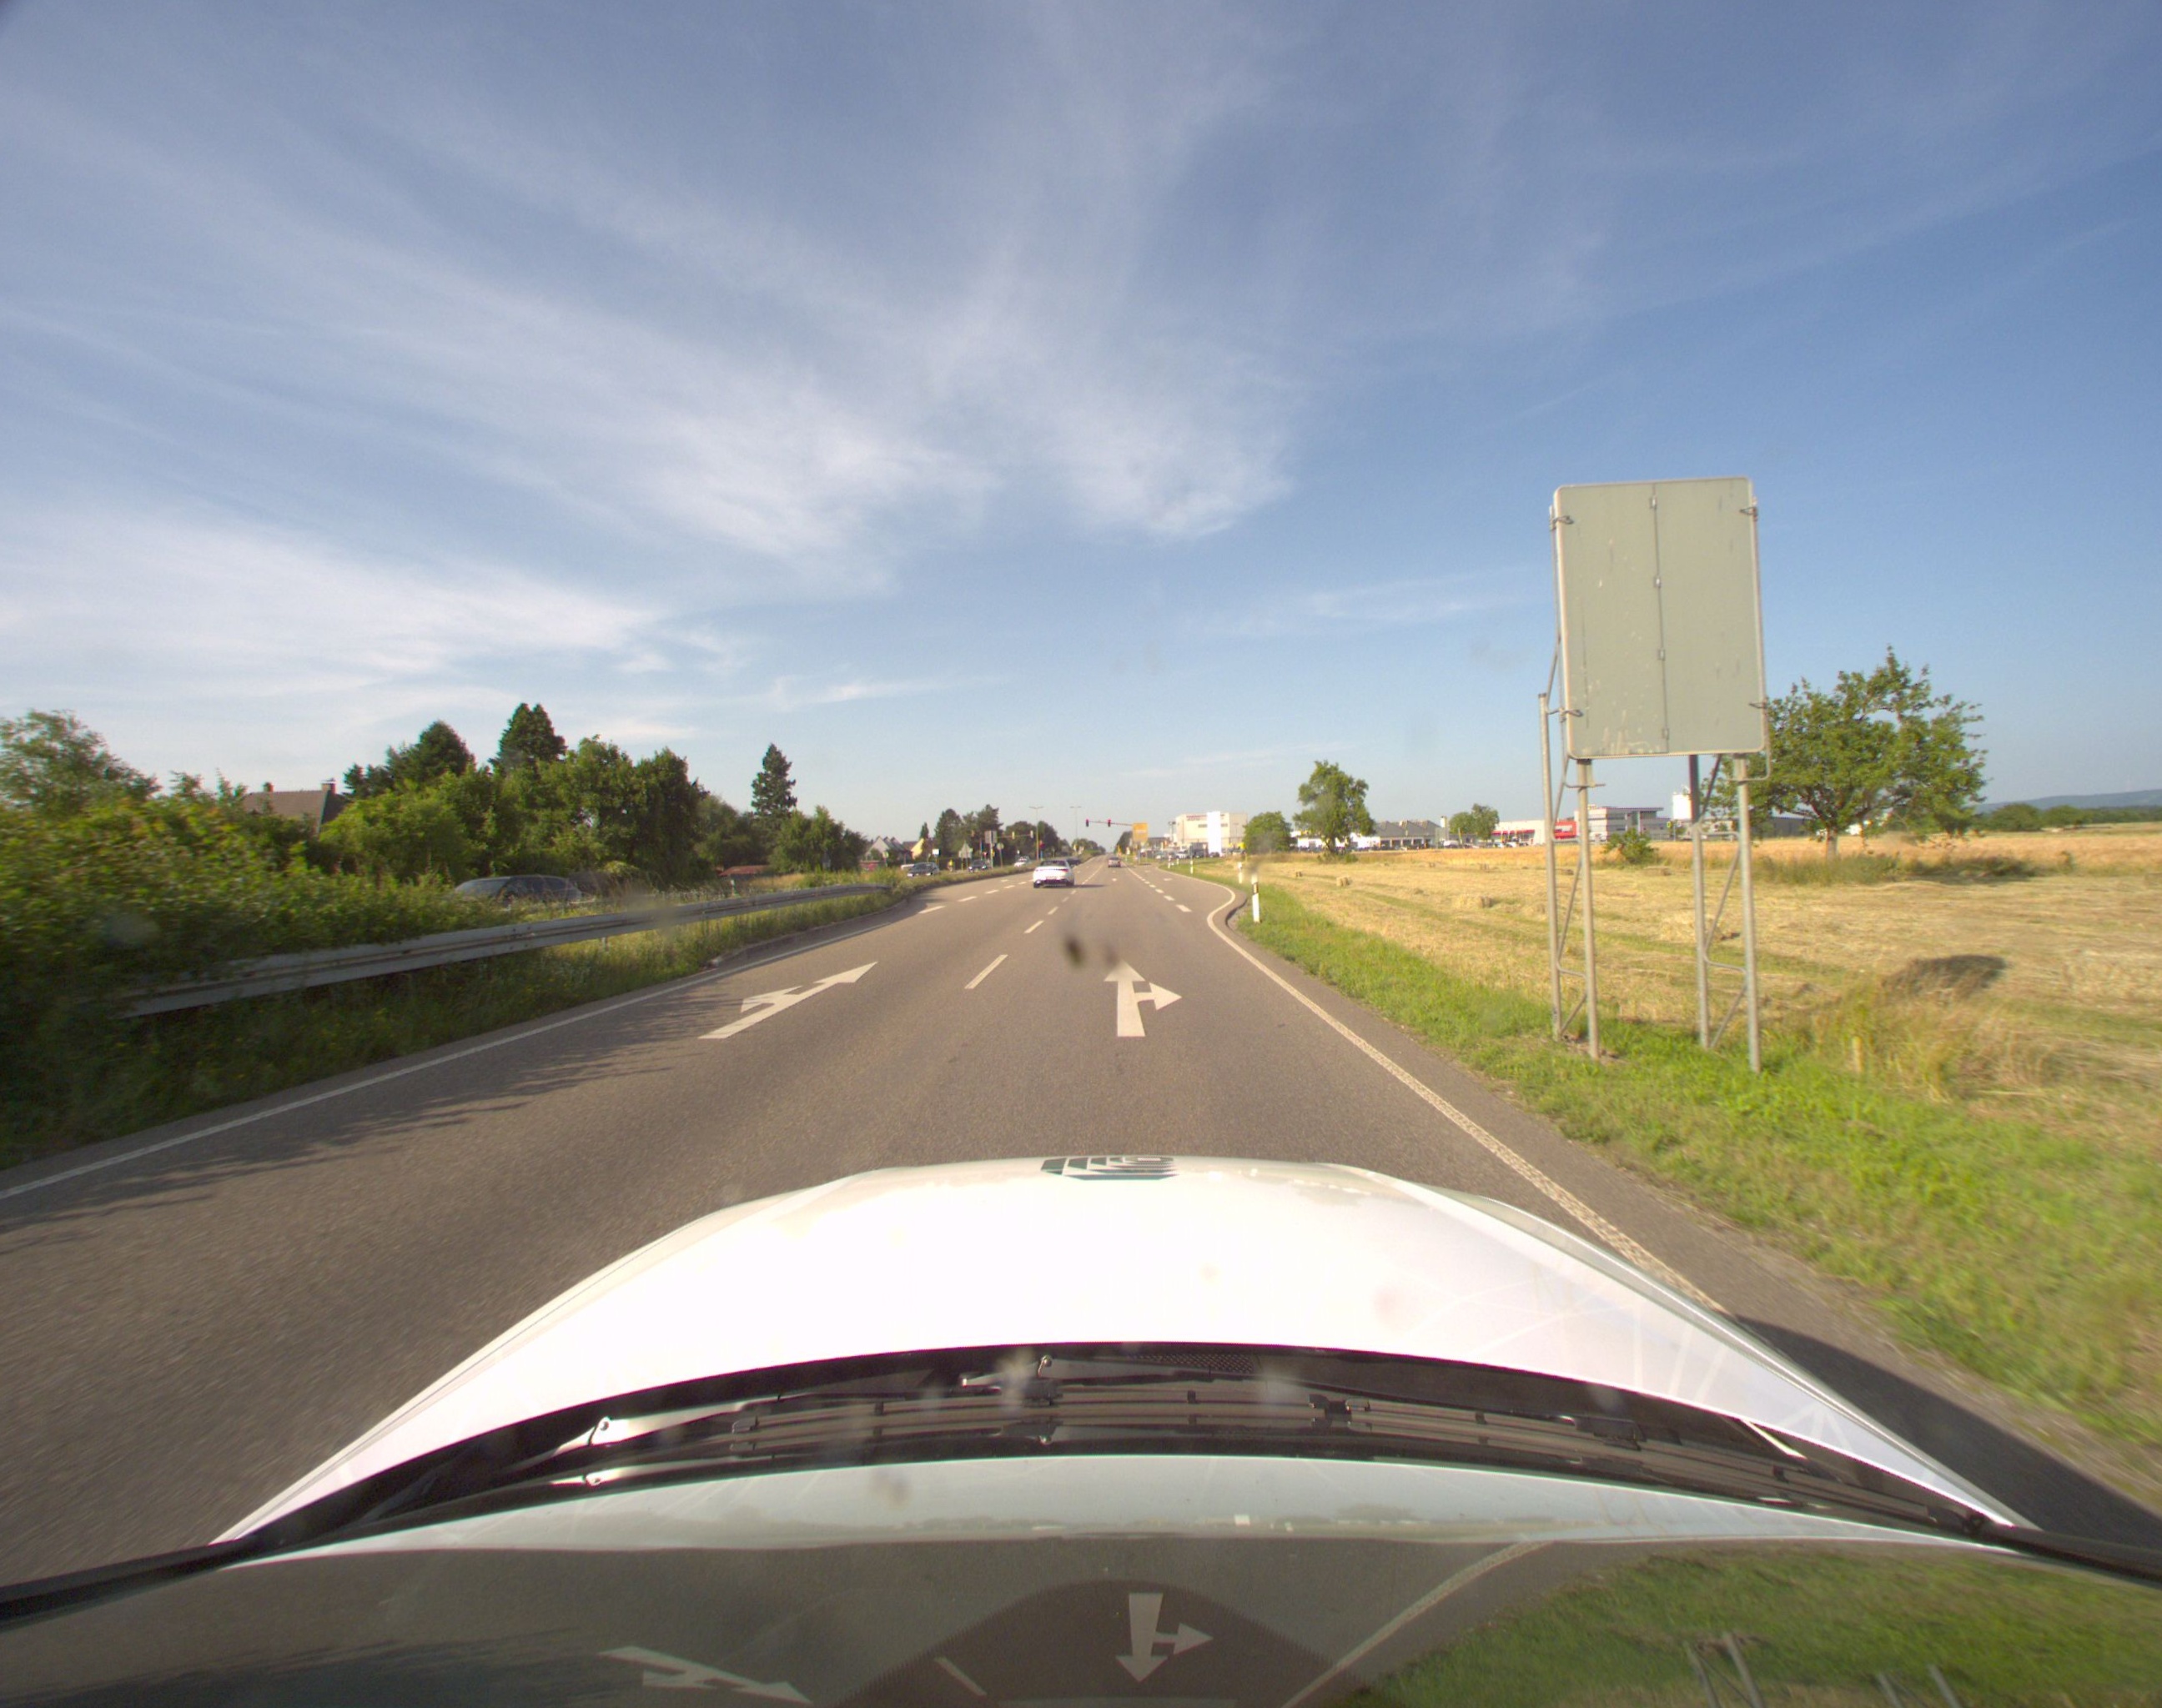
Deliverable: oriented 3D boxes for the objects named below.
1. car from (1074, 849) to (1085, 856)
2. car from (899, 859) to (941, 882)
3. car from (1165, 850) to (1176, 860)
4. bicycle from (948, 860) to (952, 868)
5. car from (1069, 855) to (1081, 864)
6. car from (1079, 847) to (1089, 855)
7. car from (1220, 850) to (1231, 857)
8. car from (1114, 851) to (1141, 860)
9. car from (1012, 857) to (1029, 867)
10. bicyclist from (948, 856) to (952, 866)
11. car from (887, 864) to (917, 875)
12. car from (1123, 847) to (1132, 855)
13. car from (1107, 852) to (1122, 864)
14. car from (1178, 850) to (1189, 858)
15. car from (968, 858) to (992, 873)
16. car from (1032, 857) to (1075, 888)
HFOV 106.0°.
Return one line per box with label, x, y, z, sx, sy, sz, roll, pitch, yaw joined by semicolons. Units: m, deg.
car;-0.292;-0.255;168.417;1.939;1.408;4.003;-1;0;3
car;-11.169;1.095;56.859;1.986;1.486;4.228;-1;0;1
car;19.444;0.259;176.945;1.985;2.013;4.004;-1;0;3
bicycle;-18.342;1.413;113.995;0.406;1.015;1.603;-2;0;-1
car;-1.011;0.968;143.584;1.939;1.408;4.003;-1;0;3
car;0.686;-0.649;182.687;1.939;1.772;4.003;-1;0;3
car;31.397;-0.065;177.345;1.985;1.442;4.004;-1;0;3
car;7.614;0.306;132.325;3.998;1.408;1.942;-1;0;-18
car;-8.478;1.141;115.219;1.986;1.398;4.001;-1;0;1
bicyclist;-18.347;0.962;113.933;0.454;1.352;0.552;-2;0;-1
car;-26.781;2.332;121.986;4.179;1.522;1.996;-1;0;-7
car;10.411;-0.736;182.475;1.985;1.757;4.004;-1;0;3
car;4.460;0.514;108.706;1.986;1.486;4.001;-1;0;1
car;22.250;-0.009;177.069;1.985;1.644;4.004;-1;0;3
car;-10.015;1.151;80.902;1.722;1.408;4.003;-1;0;3
car;-1.303;0.877;40.717;1.903;1.422;4.001;-1;0;1
